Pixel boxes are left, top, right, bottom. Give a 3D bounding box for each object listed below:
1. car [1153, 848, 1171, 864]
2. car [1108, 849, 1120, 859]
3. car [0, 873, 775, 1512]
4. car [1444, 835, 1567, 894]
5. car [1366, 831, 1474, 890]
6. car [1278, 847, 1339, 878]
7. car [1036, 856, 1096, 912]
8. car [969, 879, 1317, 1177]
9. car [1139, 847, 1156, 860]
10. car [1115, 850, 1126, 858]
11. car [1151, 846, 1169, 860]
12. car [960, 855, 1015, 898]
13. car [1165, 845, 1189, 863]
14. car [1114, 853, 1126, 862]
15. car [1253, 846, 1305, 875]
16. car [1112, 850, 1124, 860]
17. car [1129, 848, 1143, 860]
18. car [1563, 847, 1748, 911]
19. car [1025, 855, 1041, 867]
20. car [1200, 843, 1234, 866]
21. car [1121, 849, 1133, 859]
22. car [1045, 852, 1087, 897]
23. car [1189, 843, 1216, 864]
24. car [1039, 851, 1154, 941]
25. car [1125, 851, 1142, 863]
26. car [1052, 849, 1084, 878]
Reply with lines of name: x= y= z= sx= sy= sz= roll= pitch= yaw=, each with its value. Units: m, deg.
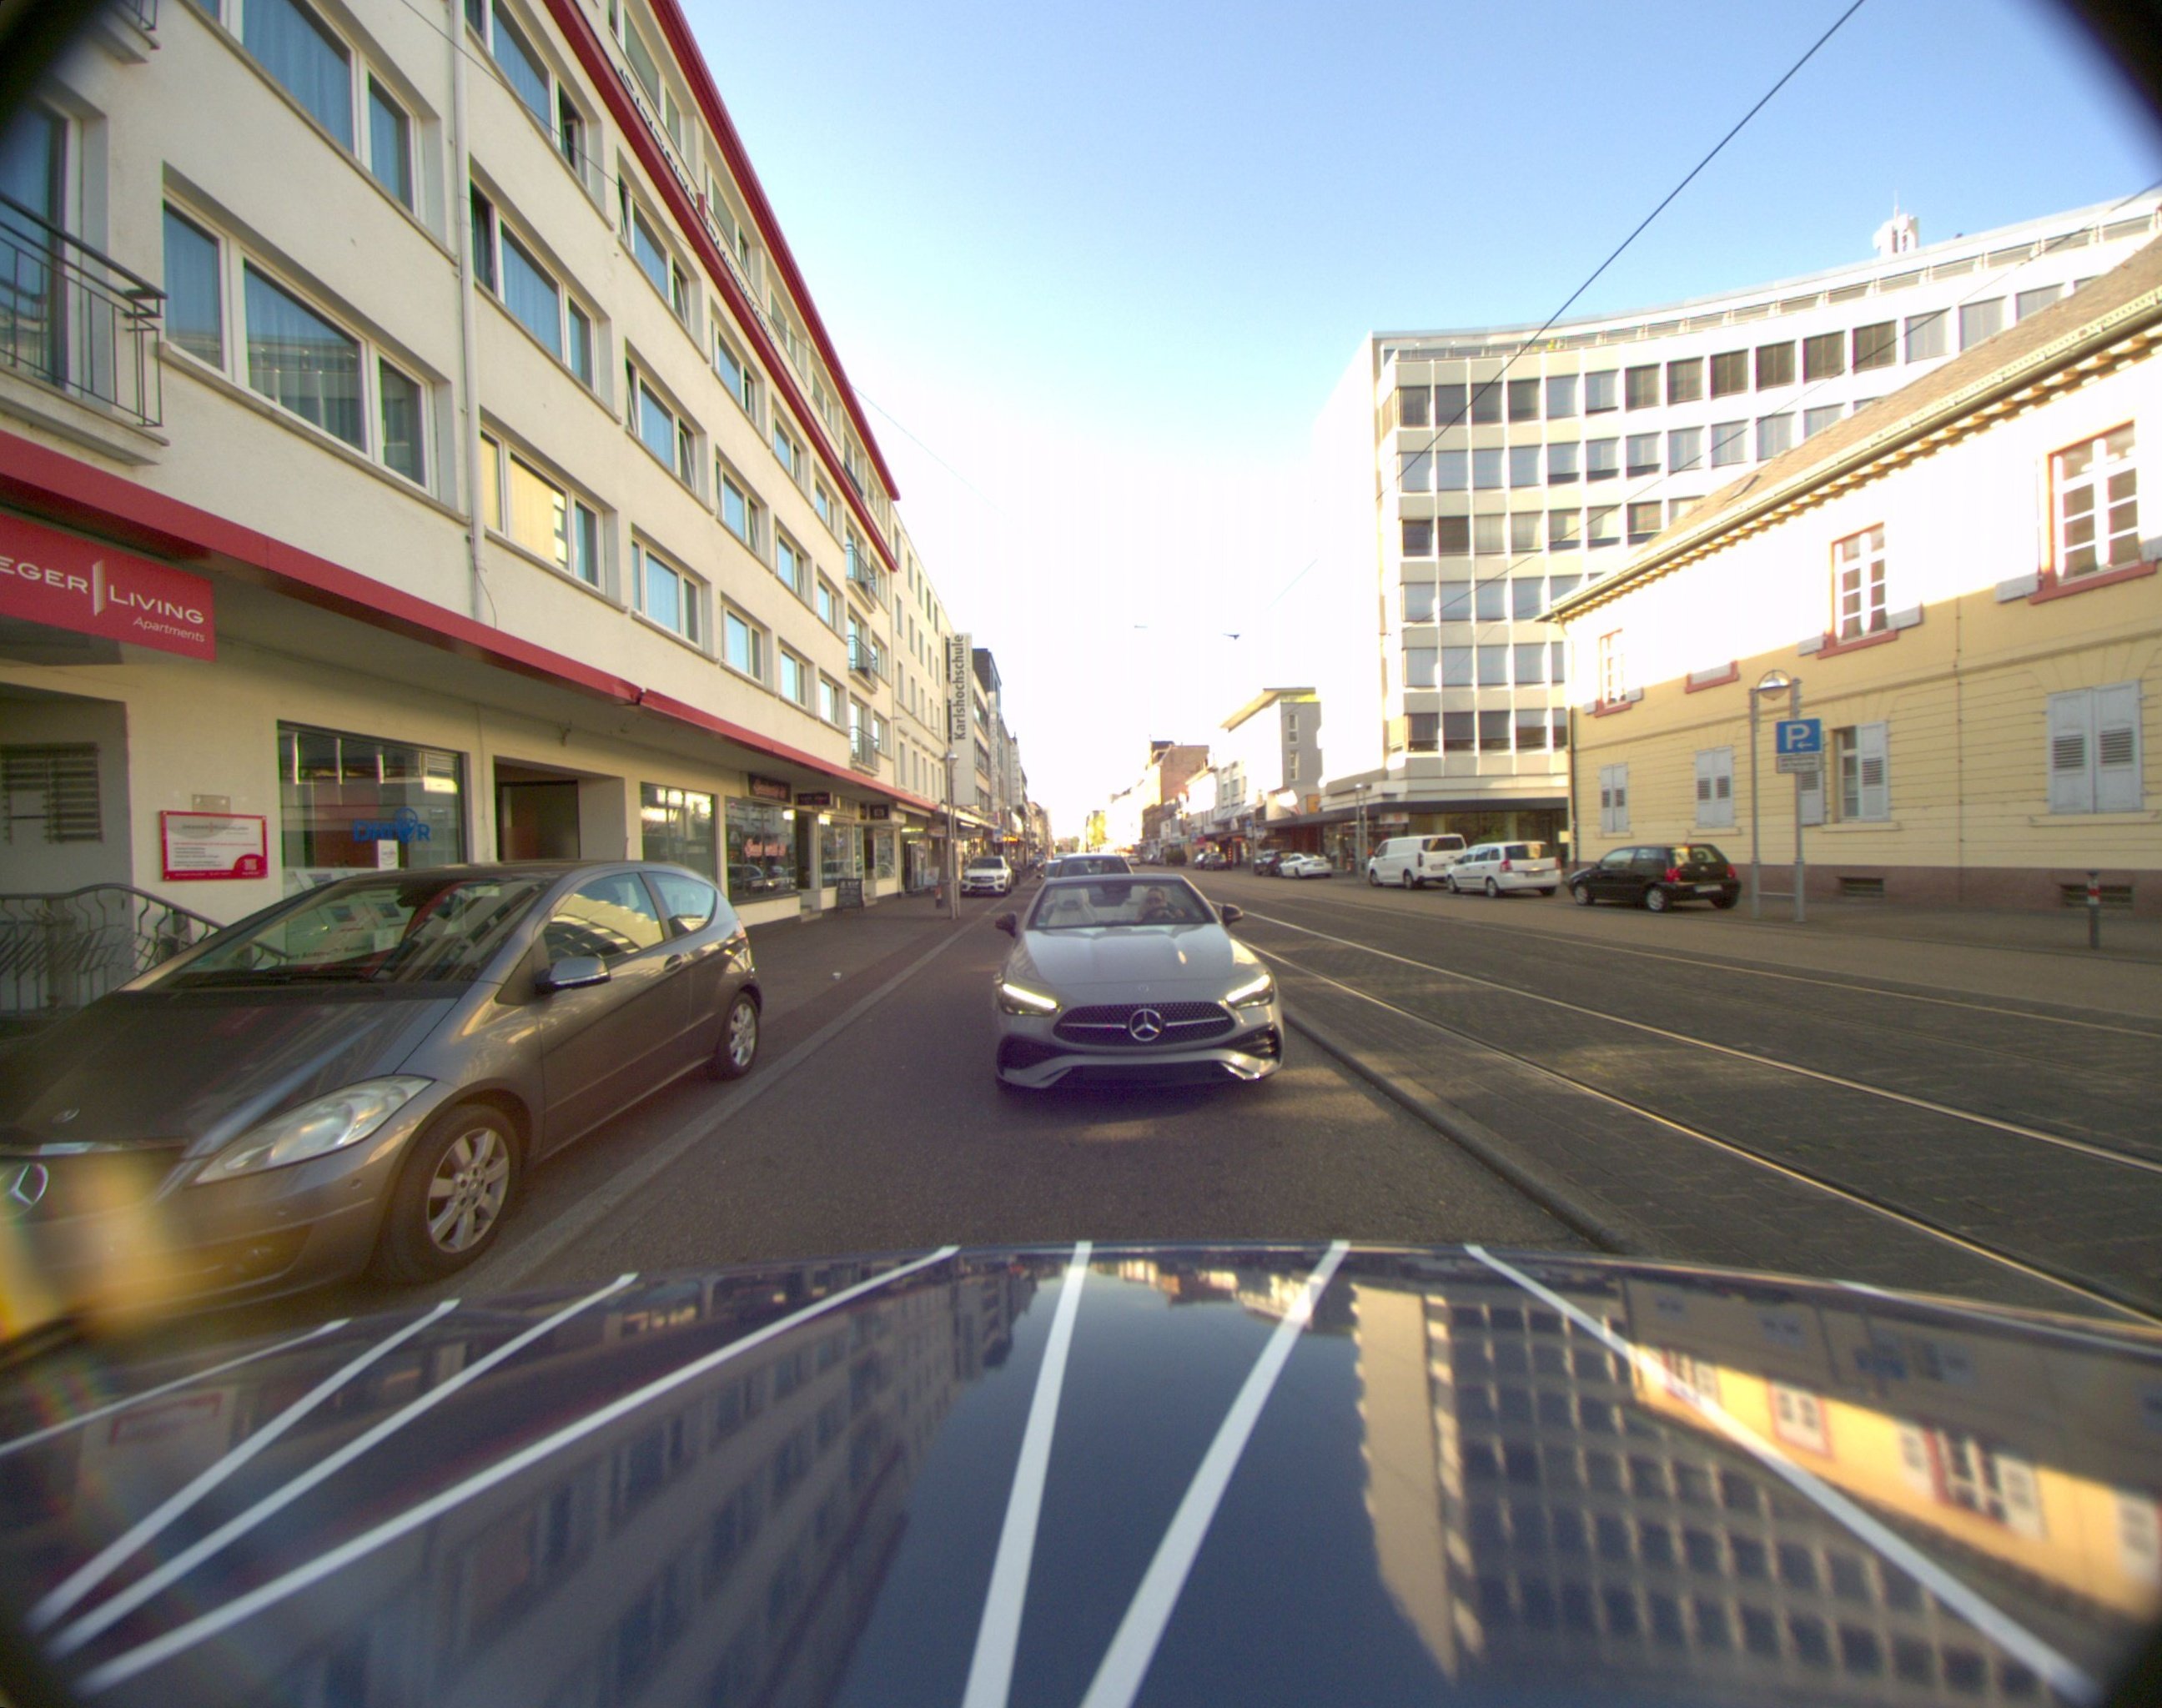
car: x=10.730 y=0.213 z=100.837 sx=1.998 sy=2.002 sz=4.000 roll=-1 pitch=0 yaw=1
car: x=6.313 y=0.028 z=144.046 sx=1.914 sy=1.883 sz=3.855 roll=-2 pitch=1 yaw=-2
car: x=-3.228 y=0.946 z=3.938 sx=1.683 sy=1.537 sz=3.999 roll=-2 pitch=0 yaw=-1
car: x=12.769 y=0.269 z=23.151 sx=1.641 sy=1.600 sz=4.005 roll=-2 pitch=1 yaw=3
car: x=12.684 y=0.231 z=28.793 sx=2.040 sy=2.002 sz=4.621 roll=-1 pitch=0 yaw=1
car: x=12.567 y=0.423 z=42.258 sx=1.999 sy=1.521 sz=4.373 roll=-2 pitch=1 yaw=-1
car: x=-0.470 y=0.864 z=23.635 sx=1.648 sy=1.506 sz=3.844 roll=-2 pitch=0 yaw=-1
car: x=0.214 y=1.011 z=6.169 sx=1.884 sy=1.375 sz=3.998 roll=-2 pitch=1 yaw=-4
car: x=10.460 y=-0.062 z=119.525 sx=1.999 sy=2.002 sz=5.320 roll=-1 pitch=0 yaw=-3
car: x=9.064 y=-0.054 z=176.603 sx=2.148 sy=1.850 sz=3.998 roll=-2 pitch=1 yaw=-2
car: x=11.563 y=-0.122 z=111.554 sx=1.999 sy=2.002 sz=3.998 roll=-2 pitch=1 yaw=-2
car: x=-3.844 y=0.889 z=31.724 sx=1.999 sy=1.620 sz=3.998 roll=-1 pitch=0 yaw=-4
car: x=11.420 y=0.008 z=90.341 sx=2.200 sy=2.030 sz=3.999 roll=-1 pitch=0 yaw=-1
car: x=6.843 y=0.658 z=134.133 sx=1.964 sy=1.499 sz=4.000 roll=-2 pitch=1 yaw=4
car: x=12.331 y=0.362 z=47.685 sx=1.999 sy=1.694 sz=4.107 roll=-3 pitch=1 yaw=-2
car: x=7.424 y=0.171 z=151.619 sx=1.999 sy=2.002 sz=3.998 roll=-2 pitch=1 yaw=-2
car: x=9.694 y=-0.056 z=134.523 sx=1.999 sy=2.002 sz=3.998 roll=-1 pitch=0 yaw=-4
car: x=12.773 y=0.496 z=17.151 sx=1.688 sy=1.246 sz=3.212 roll=-2 pitch=1 yaw=-1
car: x=-5.812 y=0.849 z=92.932 sx=1.714 sy=1.430 sz=3.756 roll=-2 pitch=1 yaw=-1
car: x=11.659 y=0.011 z=65.409 sx=1.999 sy=1.849 sz=3.998 roll=-2 pitch=1 yaw=-2
car: x=9.552 y=-0.087 z=157.324 sx=1.999 sy=2.002 sz=3.999 roll=-1 pitch=0 yaw=-2
car: x=-0.635 y=0.808 z=31.921 sx=1.573 sy=1.670 sz=3.688 roll=-2 pitch=1 yaw=-1
car: x=11.859 y=-0.049 z=74.142 sx=1.789 sy=1.870 sz=3.999 roll=-1 pitch=0 yaw=-2
car: x=0.175 y=0.760 z=15.613 sx=1.927 sy=1.533 sz=3.998 roll=-2 pitch=0 yaw=-4
car: x=7.156 y=0.399 z=103.815 sx=1.760 sy=1.587 sz=3.999 roll=-1 pitch=0 yaw=-2
car: x=-0.881 y=0.626 z=51.055 sx=1.999 sy=1.793 sz=3.999 roll=-2 pitch=1 yaw=-1
